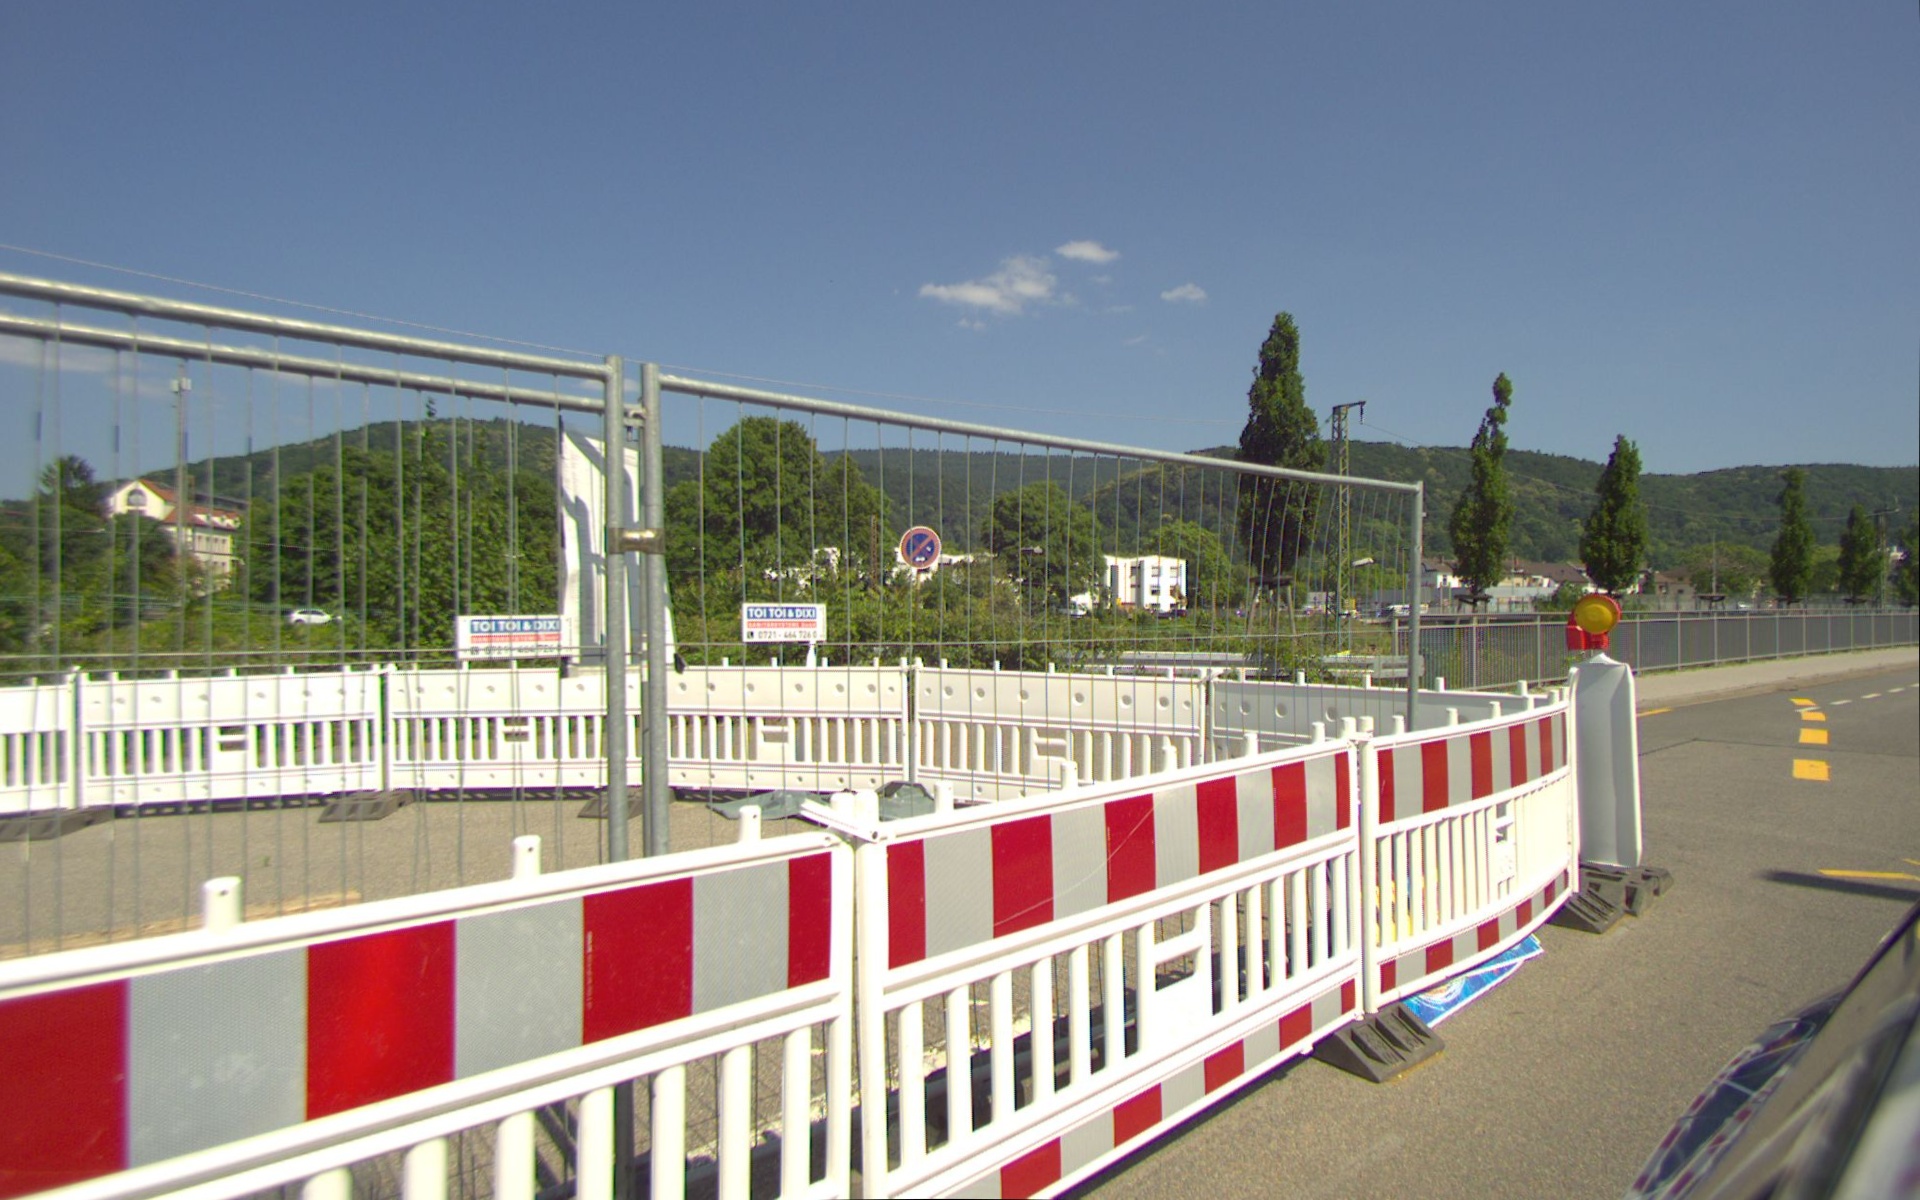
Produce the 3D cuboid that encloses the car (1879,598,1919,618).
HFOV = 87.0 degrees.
[{"bbox_3d":[82.156,0.661,87.010,1.794,1.647,4.377,-3,0,-9],"label":"car"}]

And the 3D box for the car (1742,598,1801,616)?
[{"bbox_3d":[79.519,0.697,99.221,1.794,1.647,4.377,-3,0,-9],"label":"car"}]

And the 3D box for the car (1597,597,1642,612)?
[{"bbox_3d":[76.172,0.523,116.903,1.794,1.510,4.377,-3,0,-9],"label":"car"}]

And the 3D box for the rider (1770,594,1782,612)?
[{"bbox_3d":[82.088,0.311,101.802,0.537,1.836,0.686,-3,0,-9],"label":"rider"}]

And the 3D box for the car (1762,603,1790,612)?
[{"bbox_3d":[82.116,0.737,101.834,0.564,0.913,2.386,-3,0,-10],"label":"car"}]

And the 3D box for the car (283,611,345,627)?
[{"bbox_3d":[-57.048,1.663,89.423,4.228,1.384,1.868,0,0,-8],"label":"car"}]

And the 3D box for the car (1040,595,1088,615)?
[{"bbox_3d":[12.617,0.646,122.811,5.406,2.130,2.137,-2,-5,-26],"label":"car"}]
